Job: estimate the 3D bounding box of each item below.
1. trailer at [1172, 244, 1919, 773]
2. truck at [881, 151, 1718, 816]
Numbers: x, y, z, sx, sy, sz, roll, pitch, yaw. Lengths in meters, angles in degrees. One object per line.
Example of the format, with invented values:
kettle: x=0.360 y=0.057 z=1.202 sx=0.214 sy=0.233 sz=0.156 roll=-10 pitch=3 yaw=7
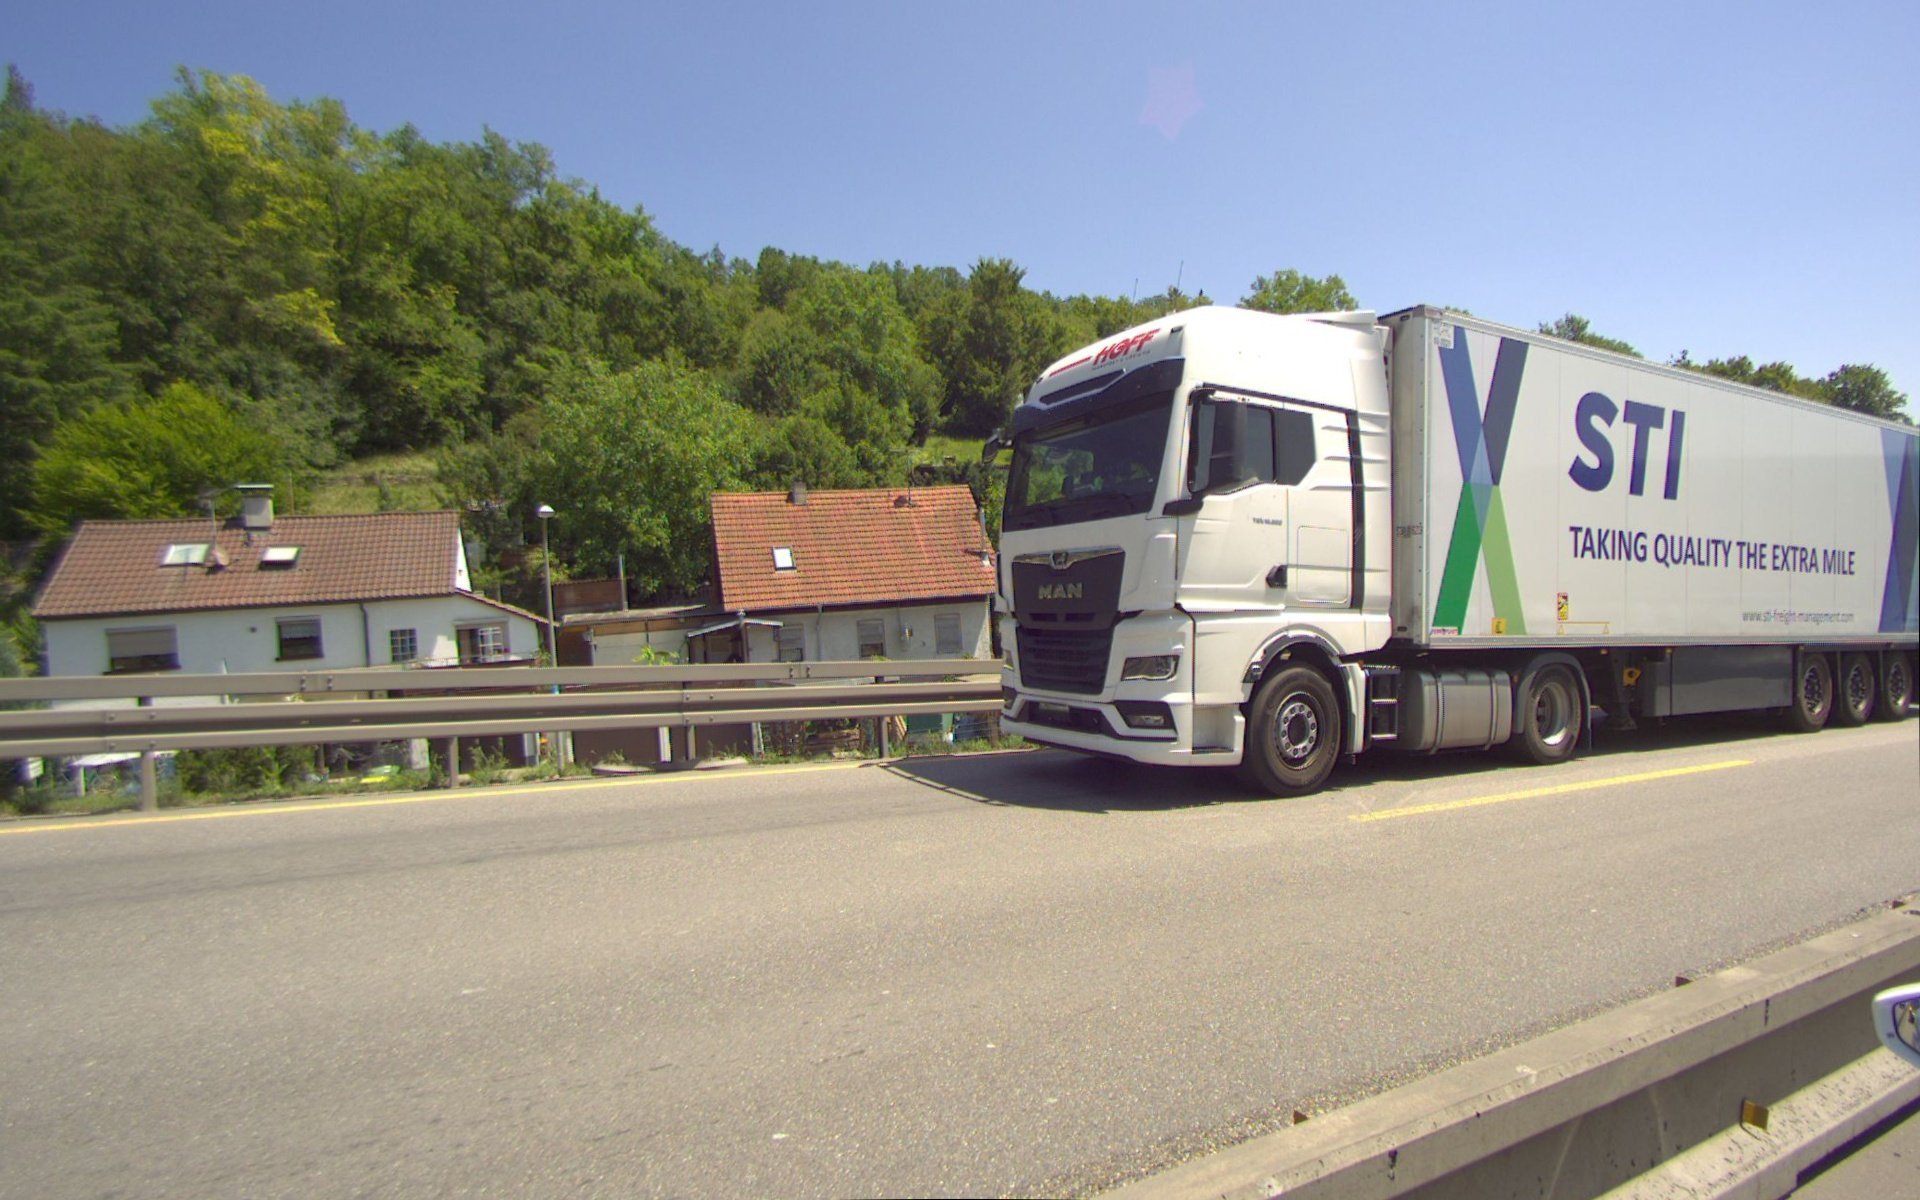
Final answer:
trailer: x=9.243 y=-0.659 z=13.274 sx=13.889 sy=4.437 sz=3.237 roll=1 pitch=1 yaw=-30
truck: x=3.647 y=-0.718 z=10.142 sx=8.200 sy=4.420 sz=3.289 roll=1 pitch=1 yaw=-29
